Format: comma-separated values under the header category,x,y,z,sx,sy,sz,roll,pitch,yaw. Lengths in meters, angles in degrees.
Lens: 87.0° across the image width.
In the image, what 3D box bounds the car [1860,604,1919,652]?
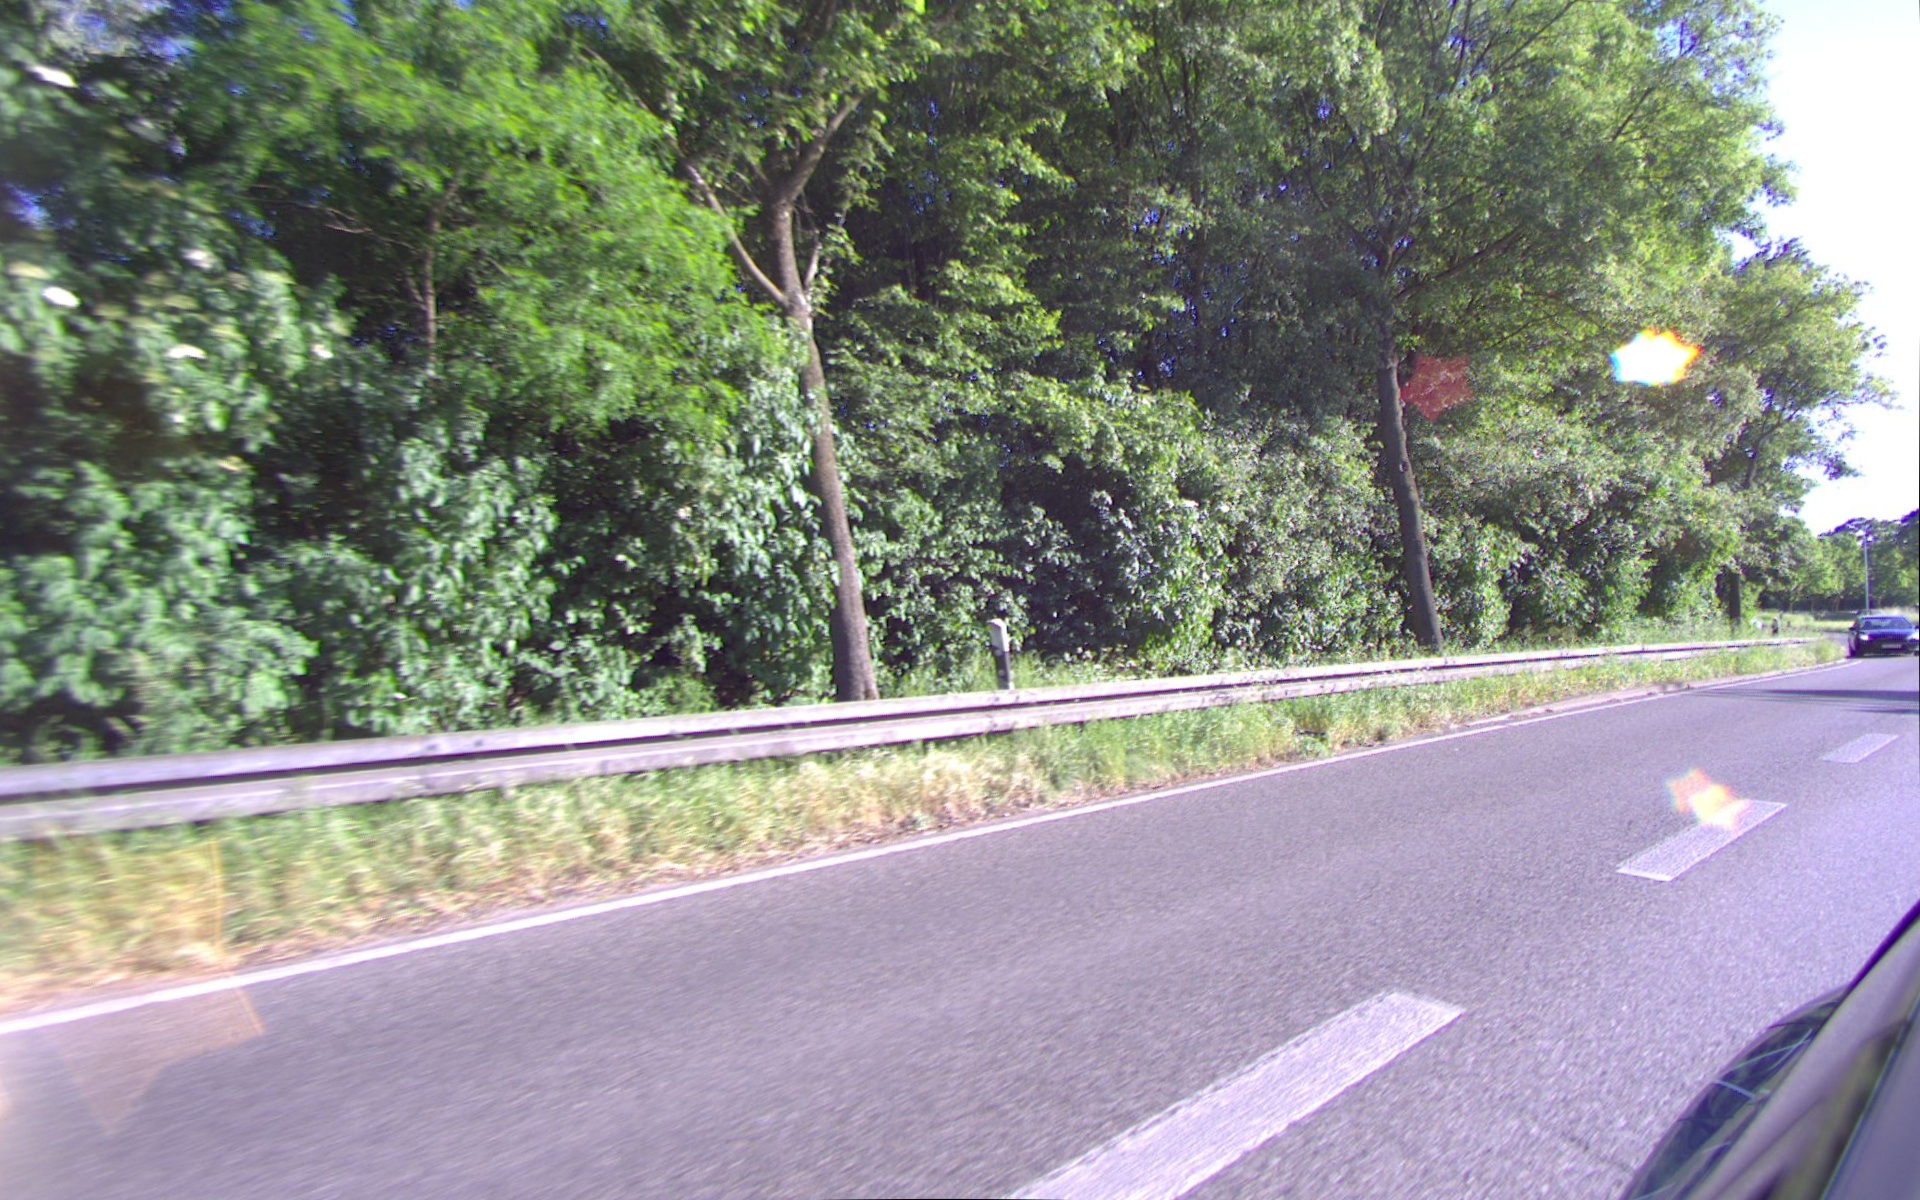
category,x,y,z,sx,sy,sz,roll,pitch,yaw
car,33.028,0.966,35.790,1.706,1.594,3.372,0,0,40
